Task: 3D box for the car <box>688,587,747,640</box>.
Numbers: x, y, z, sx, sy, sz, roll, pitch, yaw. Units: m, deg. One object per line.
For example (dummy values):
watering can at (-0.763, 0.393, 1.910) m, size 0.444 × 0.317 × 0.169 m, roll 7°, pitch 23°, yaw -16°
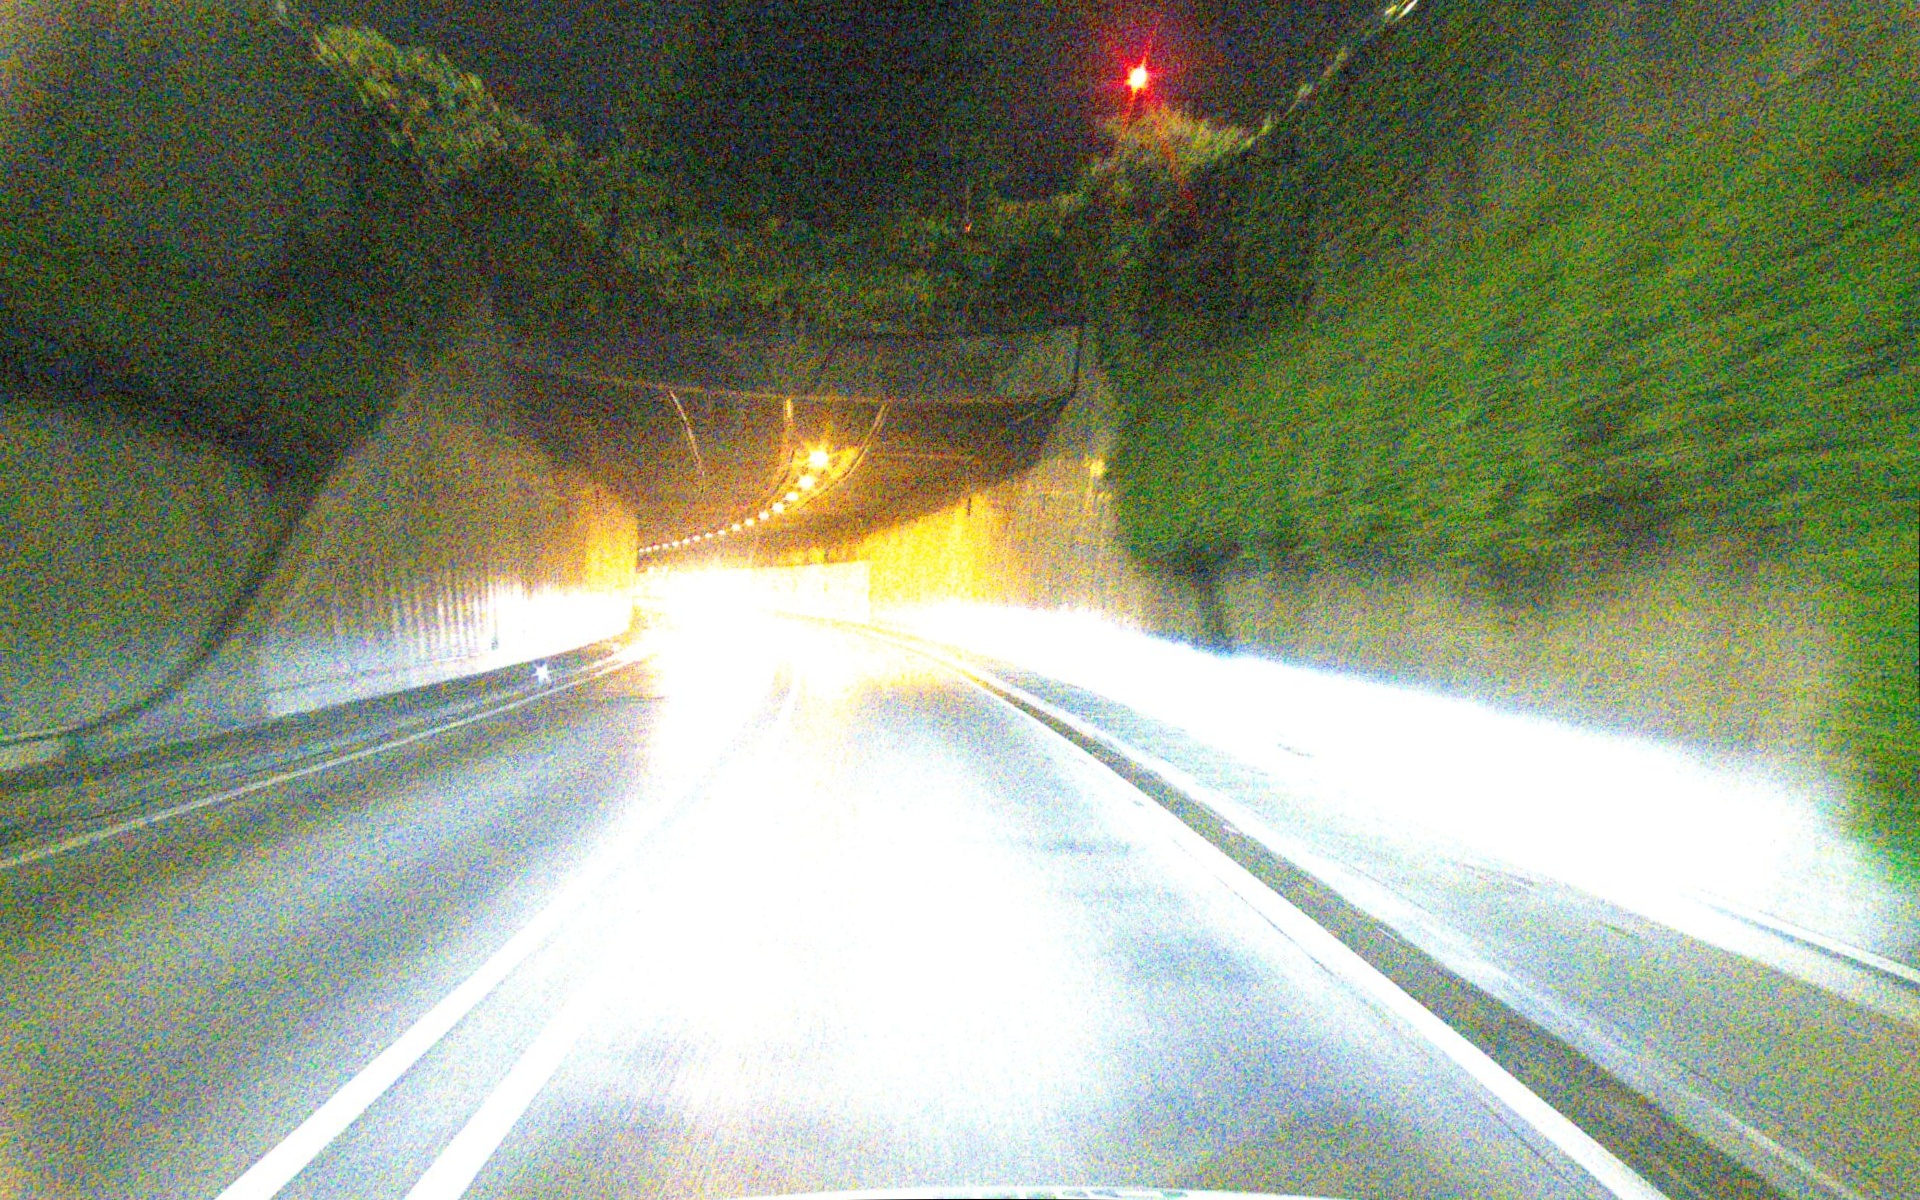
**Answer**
car at (-9.302, 0.496, 63.199) m, size 1.958 × 1.770 × 3.990 m, roll 6°, pitch -1°, yaw -11°
